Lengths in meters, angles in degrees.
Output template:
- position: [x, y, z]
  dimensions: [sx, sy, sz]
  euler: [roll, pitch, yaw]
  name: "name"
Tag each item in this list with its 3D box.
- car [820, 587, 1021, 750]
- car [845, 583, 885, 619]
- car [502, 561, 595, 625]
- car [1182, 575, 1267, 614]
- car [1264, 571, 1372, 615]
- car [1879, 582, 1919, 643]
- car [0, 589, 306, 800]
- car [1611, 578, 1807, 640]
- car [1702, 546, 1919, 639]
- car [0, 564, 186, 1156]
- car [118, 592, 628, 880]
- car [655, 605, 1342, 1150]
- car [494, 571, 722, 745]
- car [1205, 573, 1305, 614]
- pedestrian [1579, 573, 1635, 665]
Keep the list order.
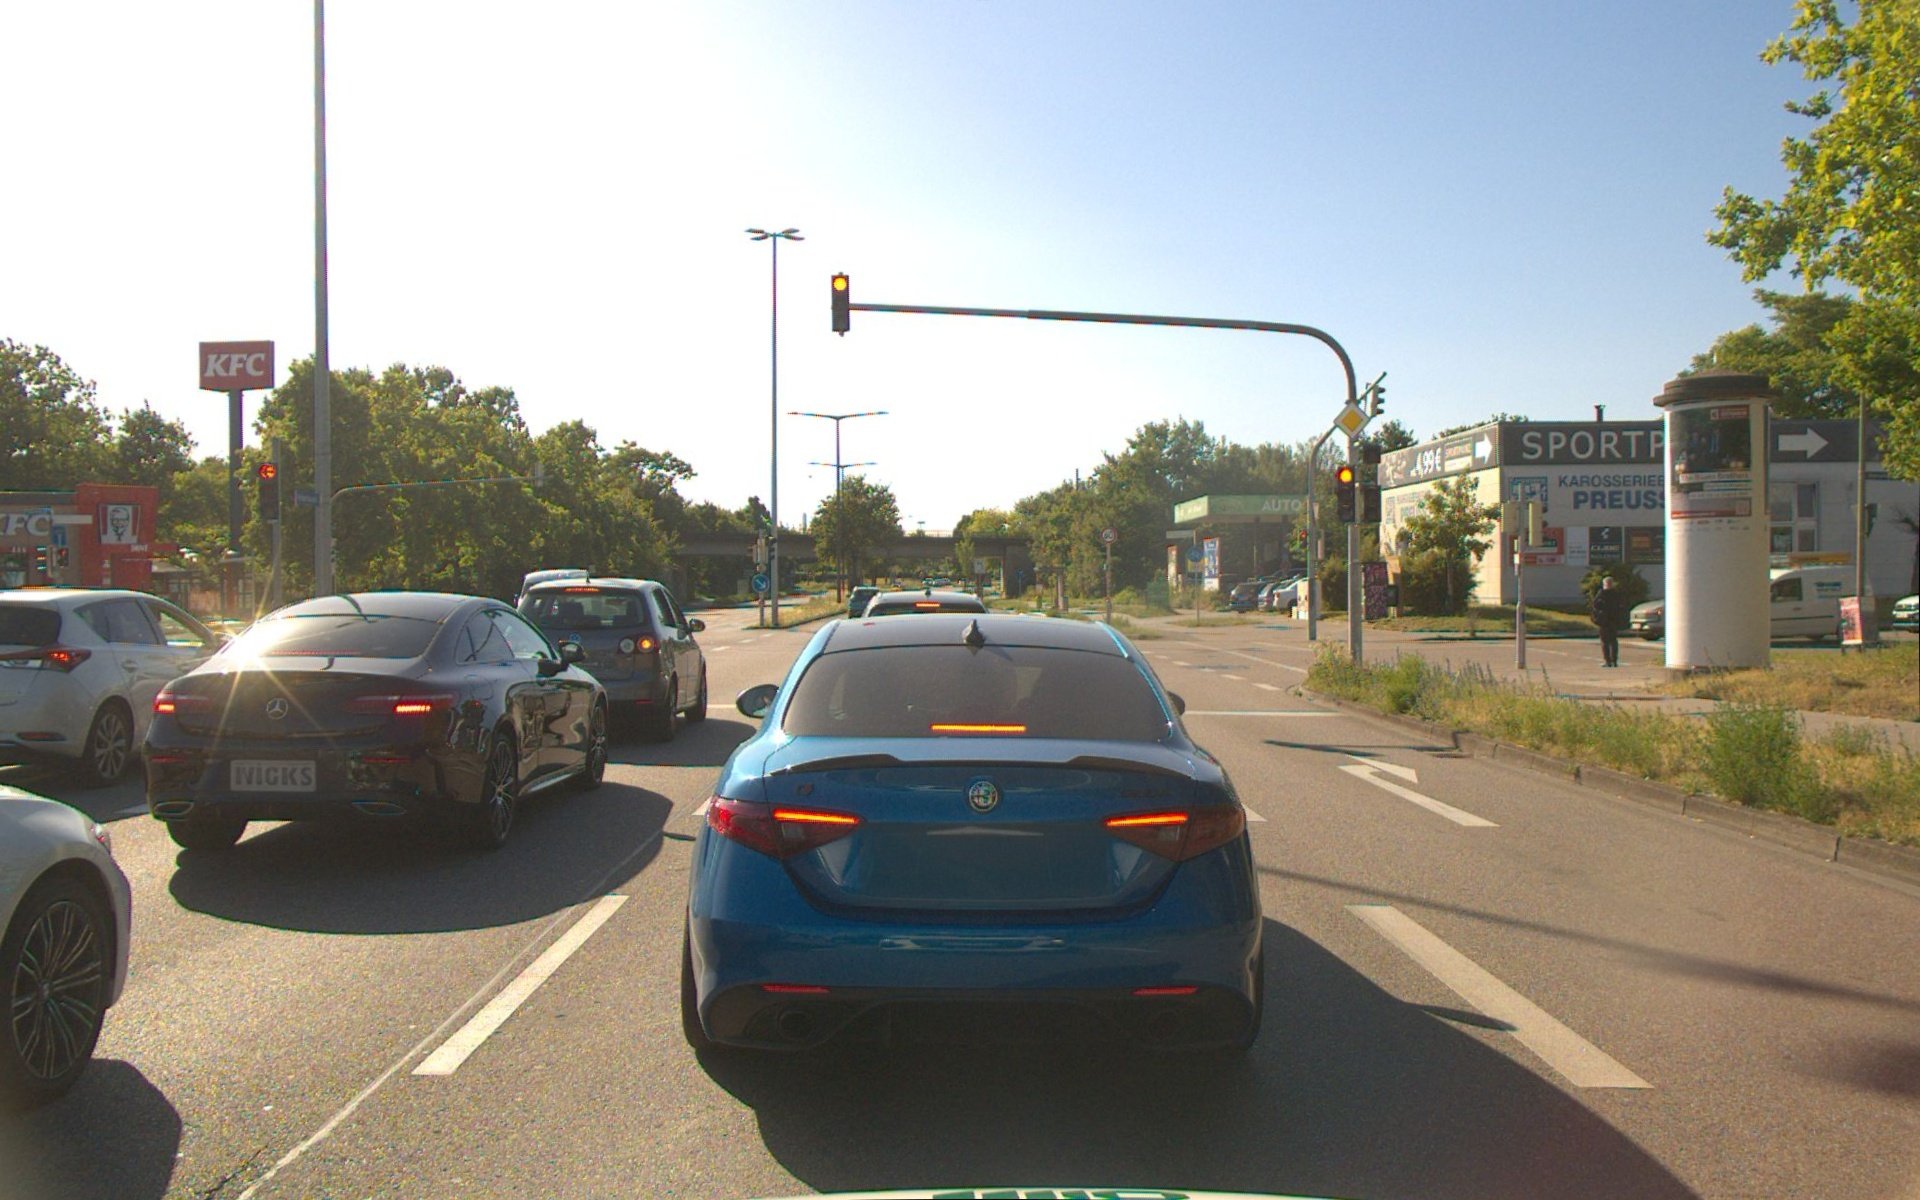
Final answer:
- position: [-0.386, 0.611, 17.069]
  dimensions: [1.828, 1.475, 3.931]
  euler: [0, 0, -1]
  name: "car"
- position: [-4.392, 0.013, 76.746]
  dimensions: [1.782, 1.622, 4.048]
  euler: [0, 1, -3]
  name: "car"
- position: [-16.577, -0.303, 66.942]
  dimensions: [2.382, 2.469, 5.830]
  euler: [0, 1, -1]
  name: "car"
- position: [11.887, -0.261, 74.345]
  dimensions: [3.428, 1.736, 1.688]
  euler: [0, 0, -16]
  name: "car"
- position: [14.354, -0.277, 66.336]
  dimensions: [3.923, 1.736, 1.687]
  euler: [0, 0, -17]
  name: "car"
- position: [26.986, 0.316, 43.739]
  dimensions: [4.318, 1.580, 1.998]
  euler: [0, 0, -4]
  name: "car"
- position: [-7.150, 0.642, 13.625]
  dimensions: [1.819, 1.454, 4.403]
  euler: [0, 0, -1]
  name: "car"
- position: [19.767, 0.226, 43.741]
  dimensions: [4.318, 1.580, 1.998]
  euler: [0, 0, -4]
  name: "car"
- position: [20.610, -0.188, 40.172]
  dimensions: [4.318, 2.183, 1.998]
  euler: [0, 0, -4]
  name: "car"
- position: [-3.343, 0.686, 3.110]
  dimensions: [1.732, 1.535, 4.460]
  euler: [0, 0, -1]
  name: "car"
- position: [-3.408, 0.672, 10.583]
  dimensions: [1.732, 1.439, 4.460]
  euler: [0, 0, -1]
  name: "car"
- position: [0.078, 0.750, 6.385]
  dimensions: [1.828, 1.409, 3.931]
  euler: [0, 0, -1]
  name: "car"
- position: [-3.588, 0.527, 17.489]
  dimensions: [1.615, 1.626, 3.931]
  euler: [0, 0, -1]
  name: "car"
- position: [12.682, -0.267, 71.166]
  dimensions: [3.928, 1.736, 1.686]
  euler: [0, 0, -20]
  name: "car"
- position: [12.564, 0.357, 32.134]
  dimensions: [0.805, 1.752, 0.854]
  euler: [0, 0, 6]
  name: "pedestrian"
